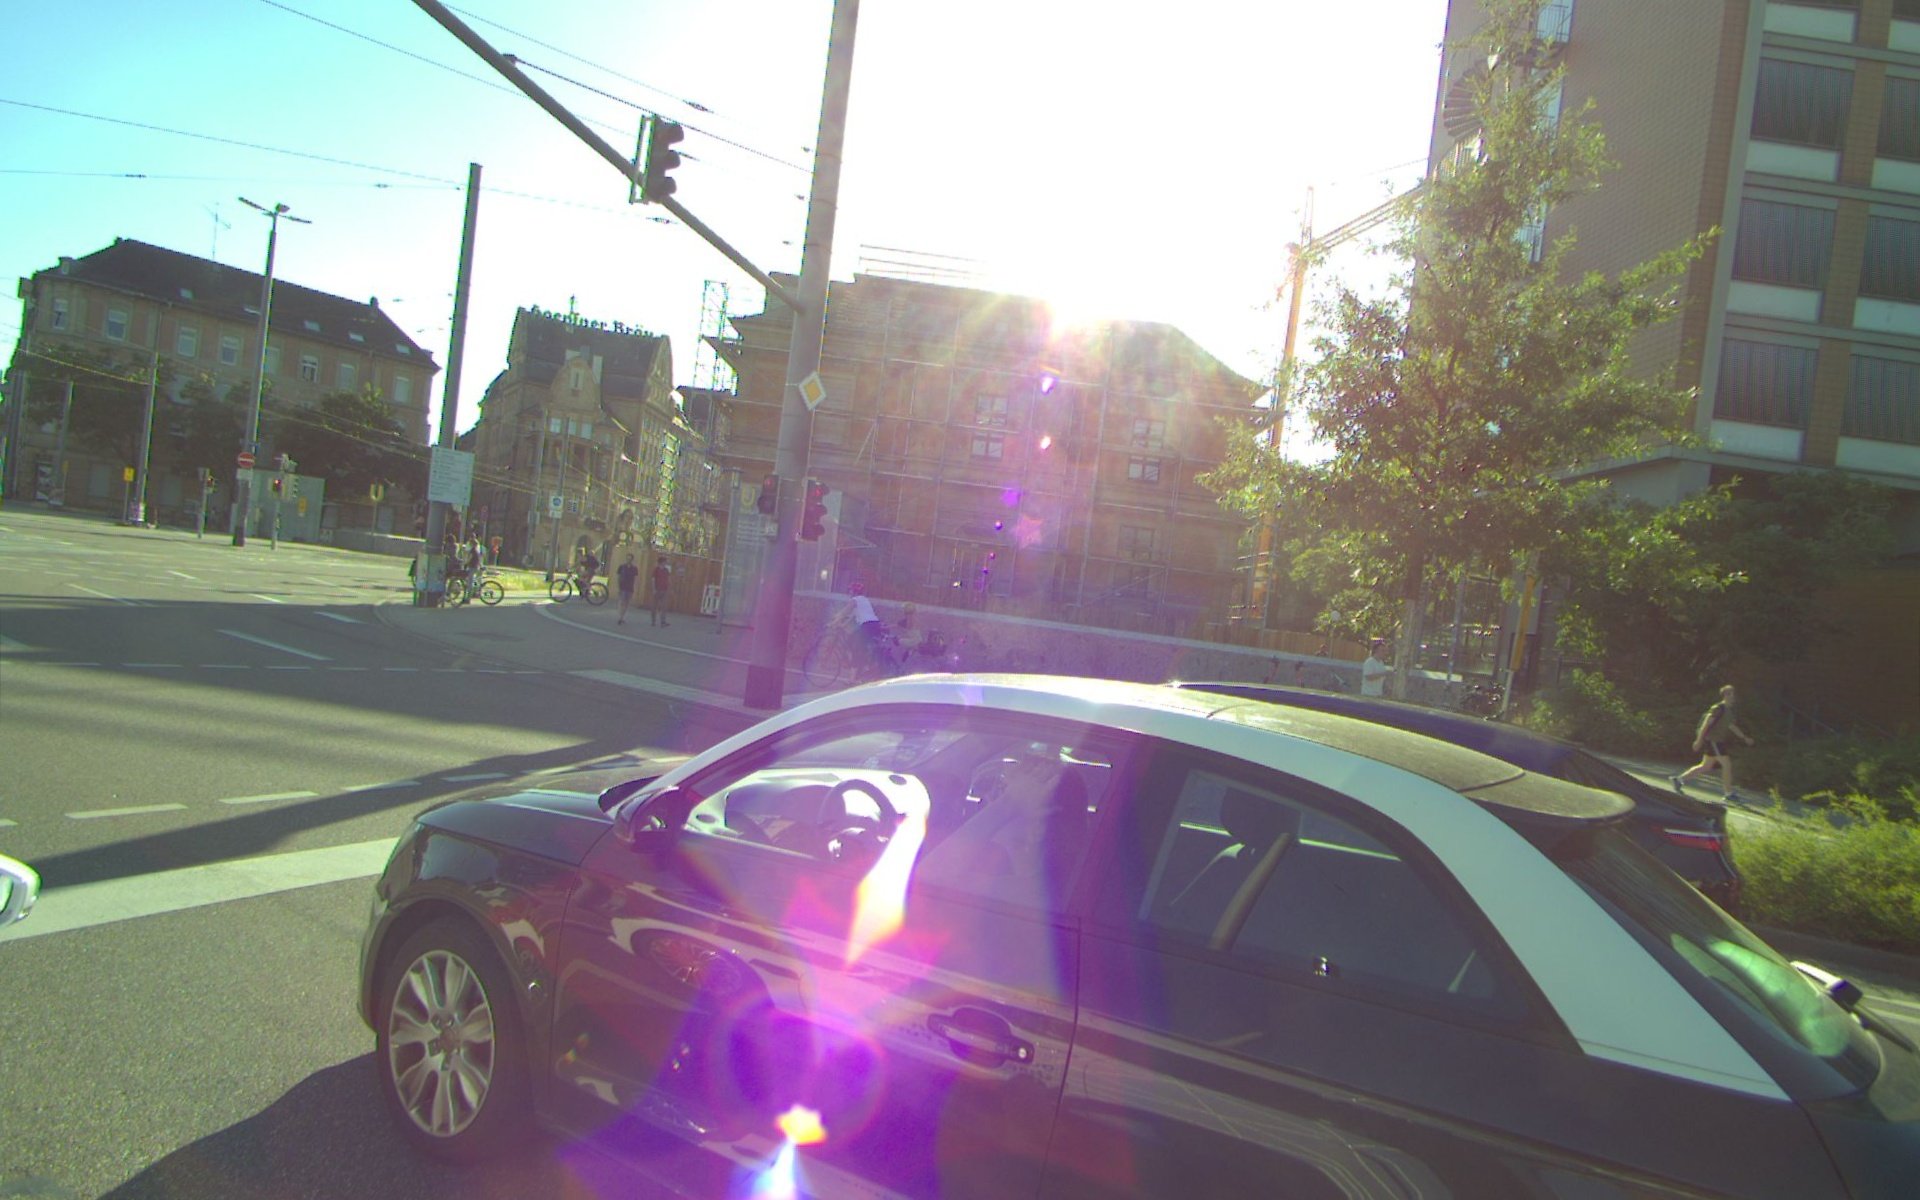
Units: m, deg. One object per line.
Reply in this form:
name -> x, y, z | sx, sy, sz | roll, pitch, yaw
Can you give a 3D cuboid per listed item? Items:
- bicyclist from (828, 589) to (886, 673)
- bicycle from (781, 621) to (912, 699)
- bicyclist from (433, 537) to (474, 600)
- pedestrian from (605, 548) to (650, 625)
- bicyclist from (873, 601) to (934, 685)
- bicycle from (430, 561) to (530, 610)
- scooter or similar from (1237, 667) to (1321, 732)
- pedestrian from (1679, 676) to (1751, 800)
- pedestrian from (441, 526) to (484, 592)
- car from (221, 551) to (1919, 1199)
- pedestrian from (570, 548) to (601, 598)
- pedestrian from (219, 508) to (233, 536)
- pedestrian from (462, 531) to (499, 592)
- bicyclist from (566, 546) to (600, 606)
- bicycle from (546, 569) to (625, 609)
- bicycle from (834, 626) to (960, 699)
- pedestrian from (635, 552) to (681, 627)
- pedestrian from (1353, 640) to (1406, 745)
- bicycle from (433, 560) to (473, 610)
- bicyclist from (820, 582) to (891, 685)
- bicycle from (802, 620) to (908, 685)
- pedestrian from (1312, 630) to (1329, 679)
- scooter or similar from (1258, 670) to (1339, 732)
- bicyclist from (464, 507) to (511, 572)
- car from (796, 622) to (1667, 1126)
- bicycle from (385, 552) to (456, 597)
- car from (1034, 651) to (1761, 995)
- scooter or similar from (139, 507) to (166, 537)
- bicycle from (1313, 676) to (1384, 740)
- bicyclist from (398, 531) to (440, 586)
bicyclist -> -1.931, 0.579, 18.861 | 0.663, 1.471, 0.616 | 6, -1, 37
bicycle -> -1.871, 0.958, 16.451 | 1.998, 0.976, 0.659 | 7, 3, 24
bicyclist -> -12.618, -0.790, 25.061 | 0.703, 1.456, 0.940 | 8, -1, -30
pedestrian -> -8.293, -0.317, 25.110 | 0.672, 1.830, 0.672 | 7, 2, 11
bicyclist -> -0.948, 0.734, 17.058 | 0.662, 1.330, 0.617 | 7, -1, 27
bicycle -> -12.774, -0.376, 26.791 | 2.293, 1.062, 0.696 | 6, -1, -28
scooter or similar -> 5.930, 1.844, 18.704 | 1.348, 1.007, 0.342 | 7, -1, 25
pedestrian -> 12.281, 2.237, 16.370 | 0.461, 1.908, 0.687 | 8, -1, -41
pedestrian -> -16.501, -1.351, 33.369 | 0.748, 2.037, 0.733 | 7, -1, 25
car -> -0.086, 0.815, 2.727 | 3.934, 1.420, 1.627 | 6, -2, 32
pedestrian -> -14.538, -1.054, 39.079 | 0.678, 1.835, 0.649 | 7, -1, 25
pedestrian -> -54.243, -5.761, 74.325 | 0.600, 2.039, 0.638 | 6, 1, -43
pedestrian -> -16.227, -1.304, 34.061 | 0.678, 1.945, 0.649 | 7, -1, 25
bicyclist -> -12.036, -0.749, 32.125 | 0.785, 1.800, 0.520 | 8, -1, -23
bicycle -> -11.965, -0.335, 32.175 | 2.289, 1.063, 0.532 | 5, 2, -25
bicycle -> -1.084, 1.044, 17.092 | 1.999, 0.976, 0.659 | 6, 2, 27
pedestrian -> -7.744, -0.257, 25.833 | 0.672, 1.828, 0.672 | 7, -1, 11
pedestrian -> 7.032, 1.529, 16.849 | 0.592, 1.662, 0.677 | 7, 3, 29
bicycle -> -12.685, -0.386, 25.113 | 0.693, 1.061, 2.303 | 9, -1, -29
bicyclist -> -1.688, 0.539, 16.351 | 0.780, 1.573, 0.667 | 7, 2, 22
bicycle -> -1.987, 0.965, 18.850 | 2.004, 0.976, 0.657 | 6, 2, 36
pedestrian -> 13.192, 2.011, 36.836 | 0.369, 1.752, 0.444 | 7, -1, 17
scooter or similar -> 6.509, 1.935, 19.396 | 1.346, 1.007, 0.343 | 7, -1, 13
bicyclist -> -12.594, -1.592, 26.808 | 0.936, 1.575, 0.705 | 8, -1, -28
car -> 1.230, 1.094, 5.373 | 3.934, 1.420, 1.627 | 6, -2, 32
bicycle -> -16.728, -0.795, 31.174 | 2.278, 1.061, 0.536 | 8, -1, 24
car -> 2.985, 1.402, 7.571 | 4.436, 1.420, 1.727 | 6, -2, 31
scooter or similar -> -42.169, -4.076, 52.524 | 0.784, 1.392, 1.885 | 8, -2, -44
bicycle -> 7.112, 1.966, 18.447 | 0.352, 1.015, 1.149 | 8, -2, -29
bicyclist -> -16.785, -1.283, 31.235 | 0.930, 1.575, 0.516 | 7, -1, 24
